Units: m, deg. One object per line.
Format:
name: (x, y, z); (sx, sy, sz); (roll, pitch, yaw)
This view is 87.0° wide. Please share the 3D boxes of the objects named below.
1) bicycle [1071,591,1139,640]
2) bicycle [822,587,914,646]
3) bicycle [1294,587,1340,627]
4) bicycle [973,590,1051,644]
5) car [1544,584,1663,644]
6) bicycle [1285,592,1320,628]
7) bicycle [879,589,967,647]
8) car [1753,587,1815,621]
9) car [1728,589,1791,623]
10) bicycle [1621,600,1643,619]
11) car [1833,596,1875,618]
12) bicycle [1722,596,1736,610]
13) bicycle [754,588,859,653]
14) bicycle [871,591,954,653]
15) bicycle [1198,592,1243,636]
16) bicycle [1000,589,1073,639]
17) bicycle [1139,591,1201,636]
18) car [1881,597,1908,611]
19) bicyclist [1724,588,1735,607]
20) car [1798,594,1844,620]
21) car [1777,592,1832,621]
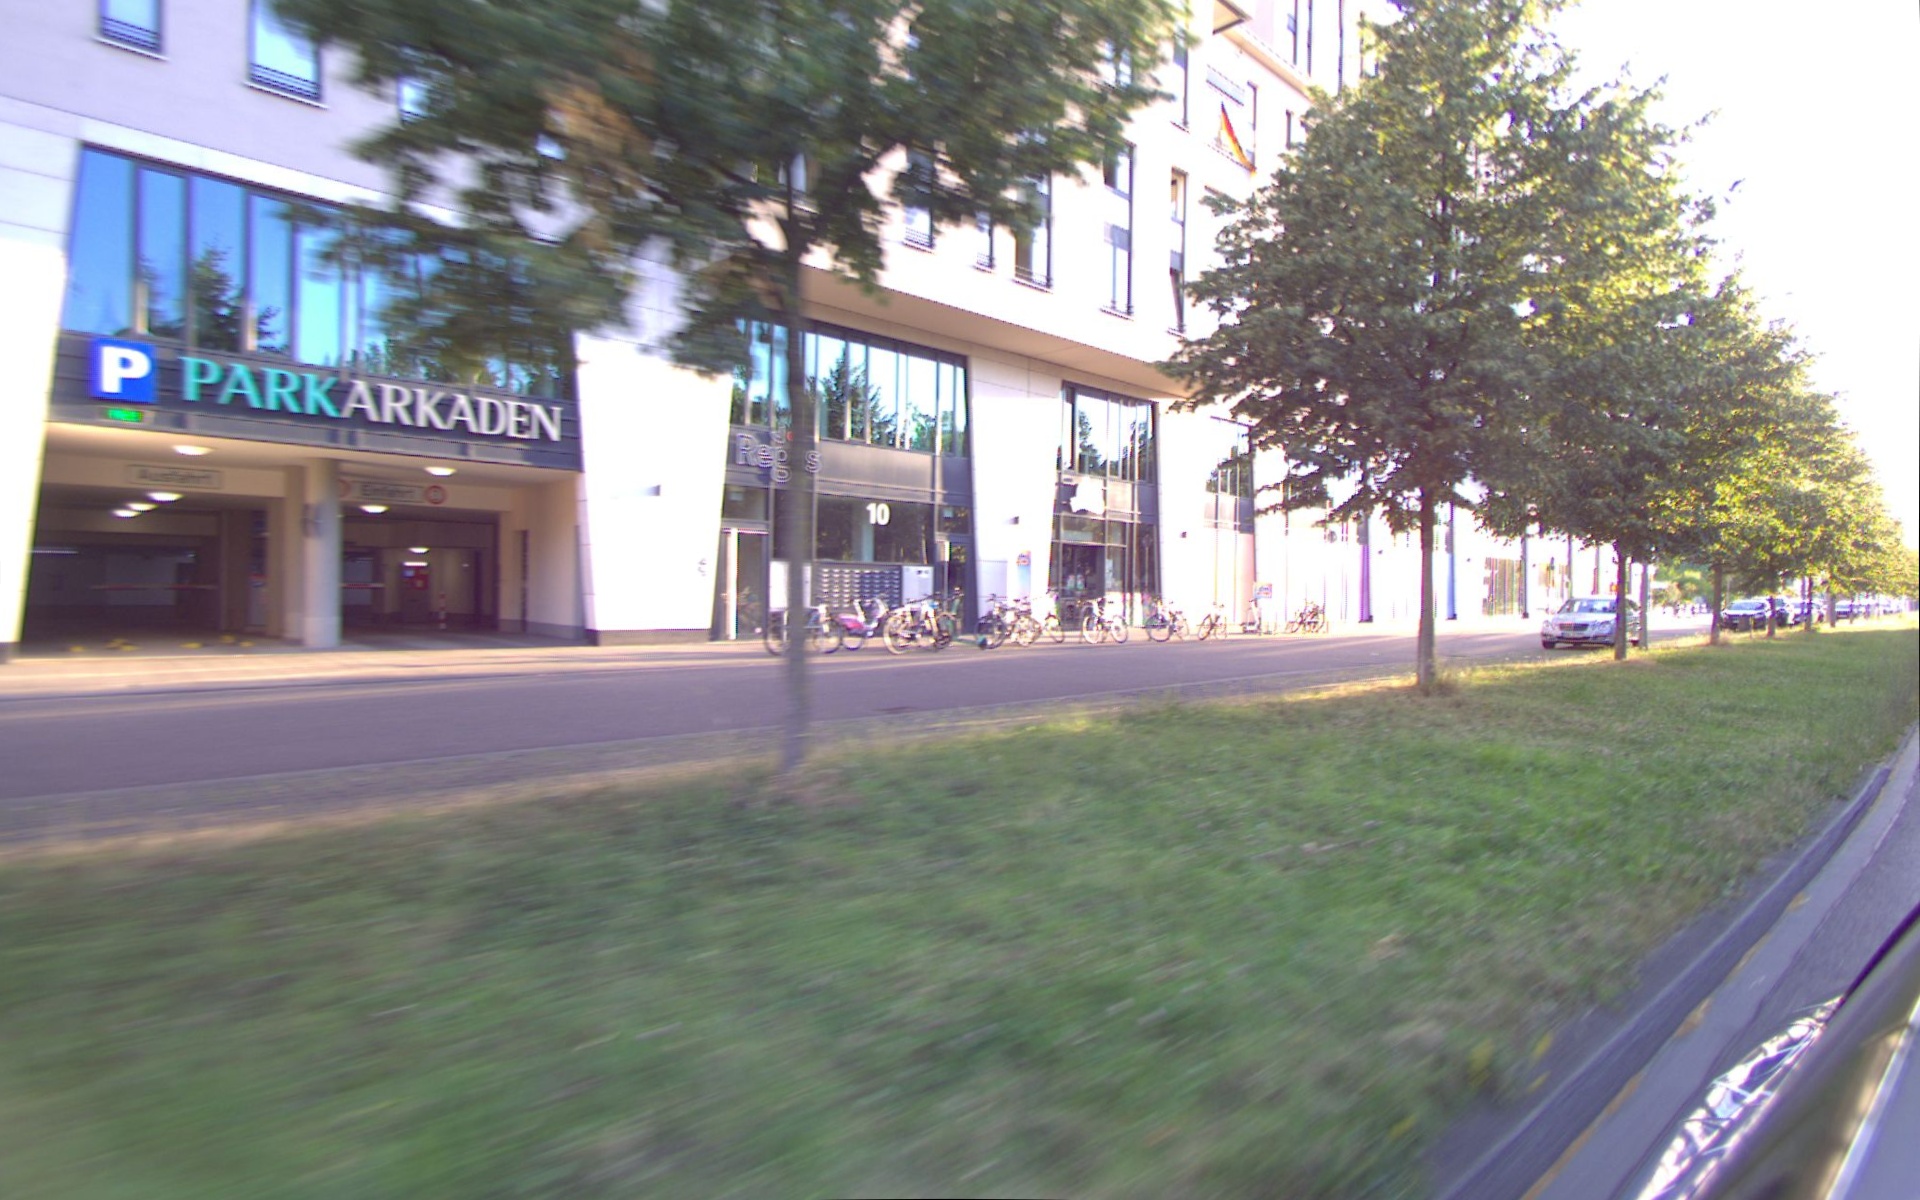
bicycle: (3.408, 0.359, 23.636); (1.826, 1.074, 0.534); (1, 2, -44)
bicycle: (-1.772, 0.308, 19.678); (1.826, 1.074, 0.534); (0, 2, -44)
bicycle: (11.080, 0.218, 31.386); (1.751, 1.178, 0.539); (1, 2, -44)
bicycle: (1.120, 0.346, 21.537); (1.826, 1.074, 0.534); (1, 2, -44)
car: (18.015, 0.349, 28.227); (4.746, 1.520, 1.809); (0, 0, -45)
bicycle: (10.738, 0.296, 31.705); (0.531, 1.074, 1.835); (3, 2, 33)
bicycle: (-0.703, 0.341, 19.895); (1.826, 1.074, 0.533); (0, 1, -44)
car: (42.073, 0.229, 51.631); (4.742, 1.644, 1.954); (0, -1, -45)
car: (36.846, 0.282, 46.592); (4.162, 1.520, 1.725); (0, -1, -44)
bicycle: (38.256, 0.553, 57.599); (0.620, 1.046, 2.225); (1, 1, 45)
car: (68.932, 0.526, 78.034); (4.291, 1.519, 1.813); (1, 3, -41)
bicycle: (64.068, 0.263, 84.286); (1.879, 1.132, 0.544); (0, 0, -41)
bicycle: (-2.699, 0.345, 17.947); (1.826, 1.074, 0.534); (1, 2, -44)
bicycle: (-0.860, 0.385, 18.864); (0.532, 1.074, 1.757); (3, 2, 36)
bicycle: (6.793, 0.343, 26.347); (0.531, 1.074, 1.835); (3, 2, 33)
bicycle: (1.740, 0.313, 22.879); (1.826, 1.074, 0.534); (1, 2, -44)
bicycle: (5.292, 0.331, 25.433); (1.826, 1.074, 0.534); (1, 2, -44)
car: (100.895, 0.421, 109.234); (5.323, 1.520, 1.921); (0, 1, -45)
bicyclist: (64.130, -0.227, 84.333); (1.002, 1.588, 0.545); (1, 0, -41)
car: (52.659, 0.404, 61.880); (3.895, 1.520, 1.809); (0, 0, -45)
car: (47.276, 0.340, 56.592); (4.928, 1.520, 1.922); (0, 1, -45)
